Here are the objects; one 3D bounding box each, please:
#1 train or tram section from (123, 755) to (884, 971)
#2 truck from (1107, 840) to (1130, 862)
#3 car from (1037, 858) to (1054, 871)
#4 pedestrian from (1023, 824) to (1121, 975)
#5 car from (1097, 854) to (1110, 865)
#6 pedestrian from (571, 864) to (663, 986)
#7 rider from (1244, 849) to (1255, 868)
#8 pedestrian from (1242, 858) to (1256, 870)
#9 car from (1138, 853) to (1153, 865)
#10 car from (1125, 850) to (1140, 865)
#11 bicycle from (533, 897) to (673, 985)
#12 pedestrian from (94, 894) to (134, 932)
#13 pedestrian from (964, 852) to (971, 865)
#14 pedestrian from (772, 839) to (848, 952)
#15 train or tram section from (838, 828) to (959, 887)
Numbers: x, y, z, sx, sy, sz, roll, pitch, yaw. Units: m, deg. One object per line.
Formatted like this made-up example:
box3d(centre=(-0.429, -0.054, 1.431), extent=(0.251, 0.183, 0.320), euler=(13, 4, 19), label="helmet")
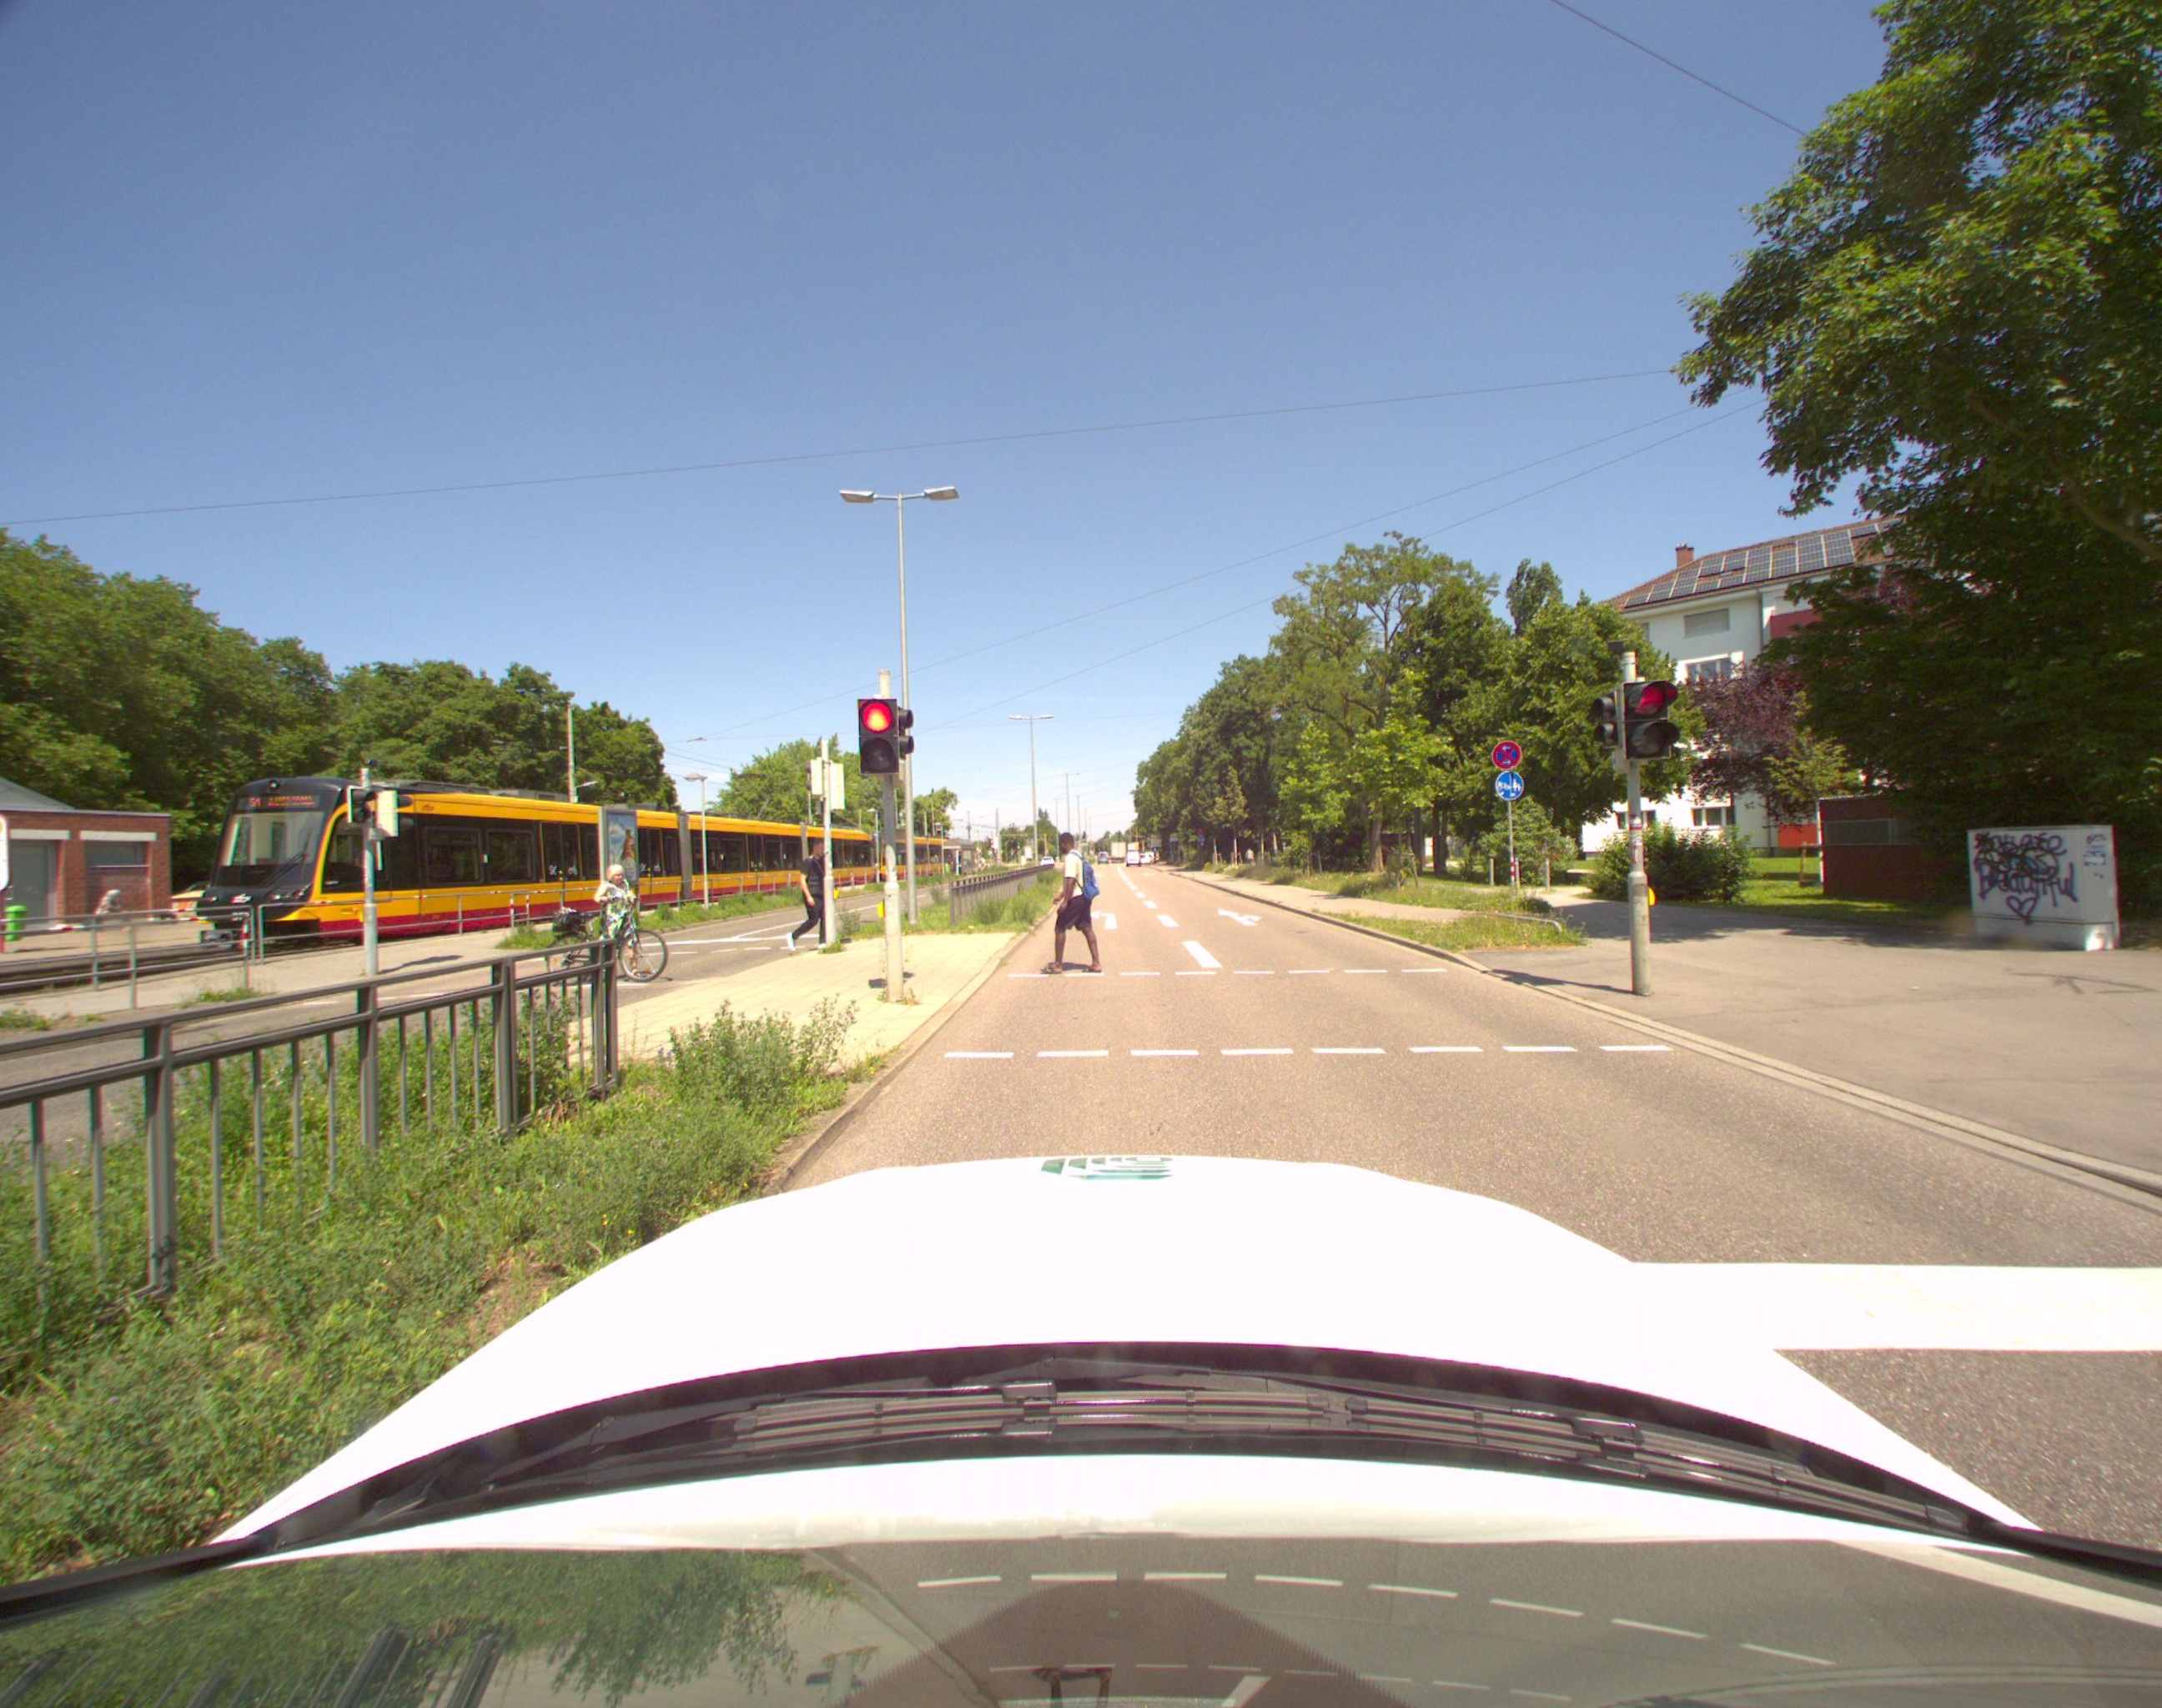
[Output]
box3d(centre=(-14.565, 0.187, 32.863), extent=(2.777, 3.668, 37.534), euler=(-1, 0, 2), label="train or tram section")
box3d(centre=(6.811, -0.548, 148.642), extent=(3.884, 3.813, 10.797), euler=(-2, 0, 2), label="truck")
box3d(centre=(-4.817, 1.379, 112.146), extent=(1.986, 1.650, 4.002), euler=(-2, 0, 2), label="car")
box3d(centre=(-0.103, 0.563, 10.435), extent=(1.038, 1.850, 0.760), euler=(-1, -1, 16), label="pedestrian")
box3d(centre=(3.525, 0.839, 125.980), extent=(1.794, 1.486, 4.004), euler=(-2, 0, 3), label="car")
box3d(centre=(-6.458, 0.969, 11.366), extent=(0.814, 1.628, 0.707), euler=(-1, 0, 7), label="pedestrian")
box3d(centre=(11.956, 0.327, 57.908), extent=(0.675, 1.281, 0.534), euler=(-1, 0, 1), label="rider")
box3d(centre=(11.966, 0.700, 57.928), extent=(0.675, 0.847, 1.774), euler=(-1, 0, 2), label="pedestrian")
box3d(centre=(8.900, 0.677, 111.823), extent=(1.797, 1.540, 4.001), euler=(-1, 0, 1), label="car")
box3d(centre=(6.265, 0.384, 98.834), extent=(1.719, 1.814, 4.006), euler=(0, 0, 5), label="car")
box3d(centre=(-6.533, 1.187, 11.134), extent=(1.853, 1.157, 0.243), euler=(-1, 0, 7), label="bicycle")
box3d(centre=(-26.857, 1.628, 22.625), extent=(0.479, 1.018, 0.523), euler=(-2, 0, 4), label="pedestrian")
box3d(centre=(-17.339, 0.758, 124.811), extent=(0.860, 1.964, 0.874), euler=(-1, 0, 1), label="pedestrian")
box3d(centre=(-4.489, 0.664, 13.477), extent=(0.949, 1.797, 0.710), euler=(-2, -1, 31), label="pedestrian")
box3d(centre=(-13.504, 0.243, 64.596), extent=(2.777, 3.668, 26.010), euler=(-1, 0, 2), label="train or tram section")
